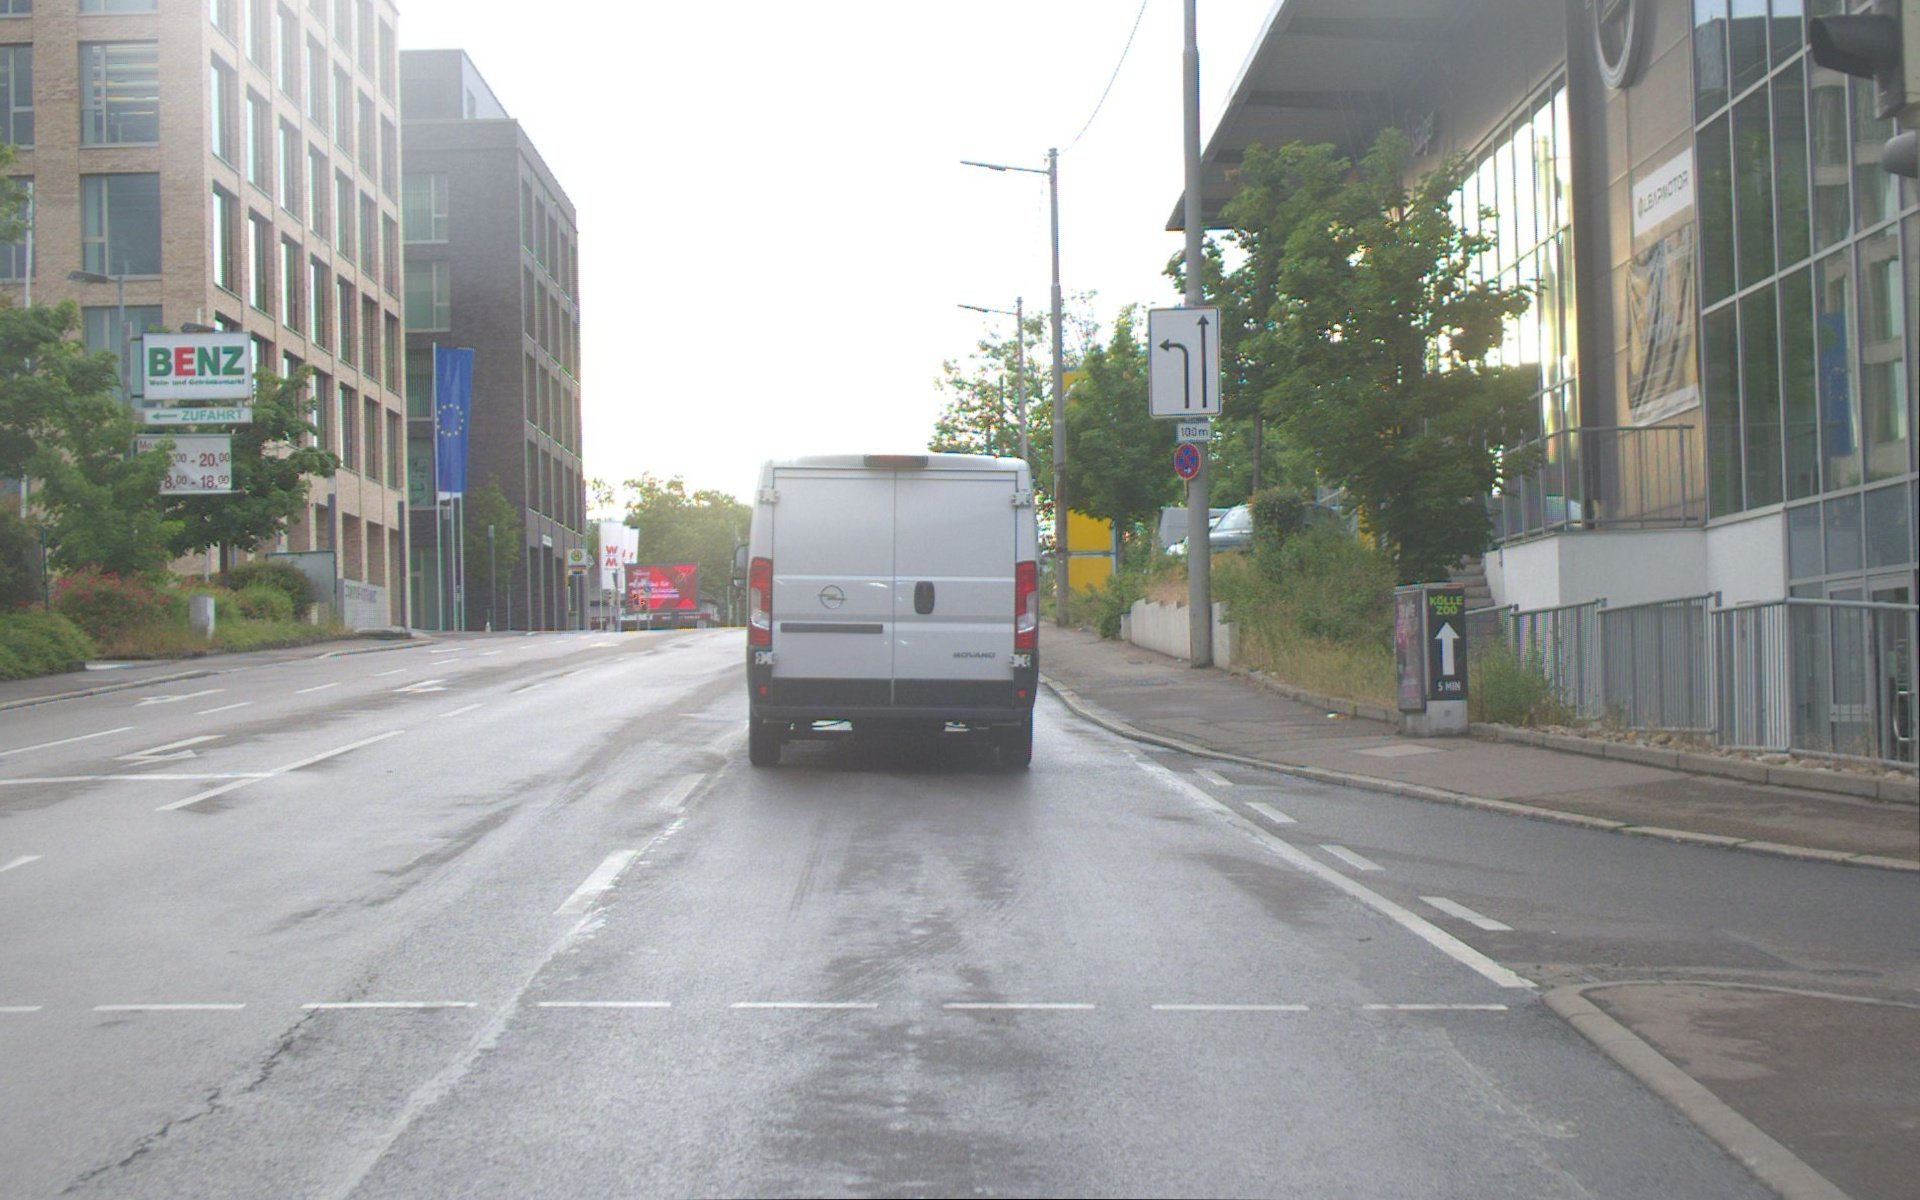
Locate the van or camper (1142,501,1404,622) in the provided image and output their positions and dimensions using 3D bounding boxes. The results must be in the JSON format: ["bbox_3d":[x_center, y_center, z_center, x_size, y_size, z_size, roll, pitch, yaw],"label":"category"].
[{"bbox_3d":[7.094,-0.884,78.403,5.736,2.714,2.352,0,0,-1],"label":"van or camper"}]

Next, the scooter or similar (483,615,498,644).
[{"bbox_3d":[-17.431,1.102,127.703,0.351,1.068,1.428,0,-2,0],"label":"scooter or similar"}]

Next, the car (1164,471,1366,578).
[{"bbox_3d":[5.325,-1.279,59.585,1.996,1.705,4.422,-3,-1,26],"label":"car"}]

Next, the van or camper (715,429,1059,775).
[{"bbox_3d":[-0.498,-0.008,25.965,2.340,2.349,5.199,0,0,0],"label":"van or camper"}]

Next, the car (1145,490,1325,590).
[{"bbox_3d":[5.190,-1.096,64.376,1.996,1.705,4.572,-3,-1,22],"label":"car"}]
